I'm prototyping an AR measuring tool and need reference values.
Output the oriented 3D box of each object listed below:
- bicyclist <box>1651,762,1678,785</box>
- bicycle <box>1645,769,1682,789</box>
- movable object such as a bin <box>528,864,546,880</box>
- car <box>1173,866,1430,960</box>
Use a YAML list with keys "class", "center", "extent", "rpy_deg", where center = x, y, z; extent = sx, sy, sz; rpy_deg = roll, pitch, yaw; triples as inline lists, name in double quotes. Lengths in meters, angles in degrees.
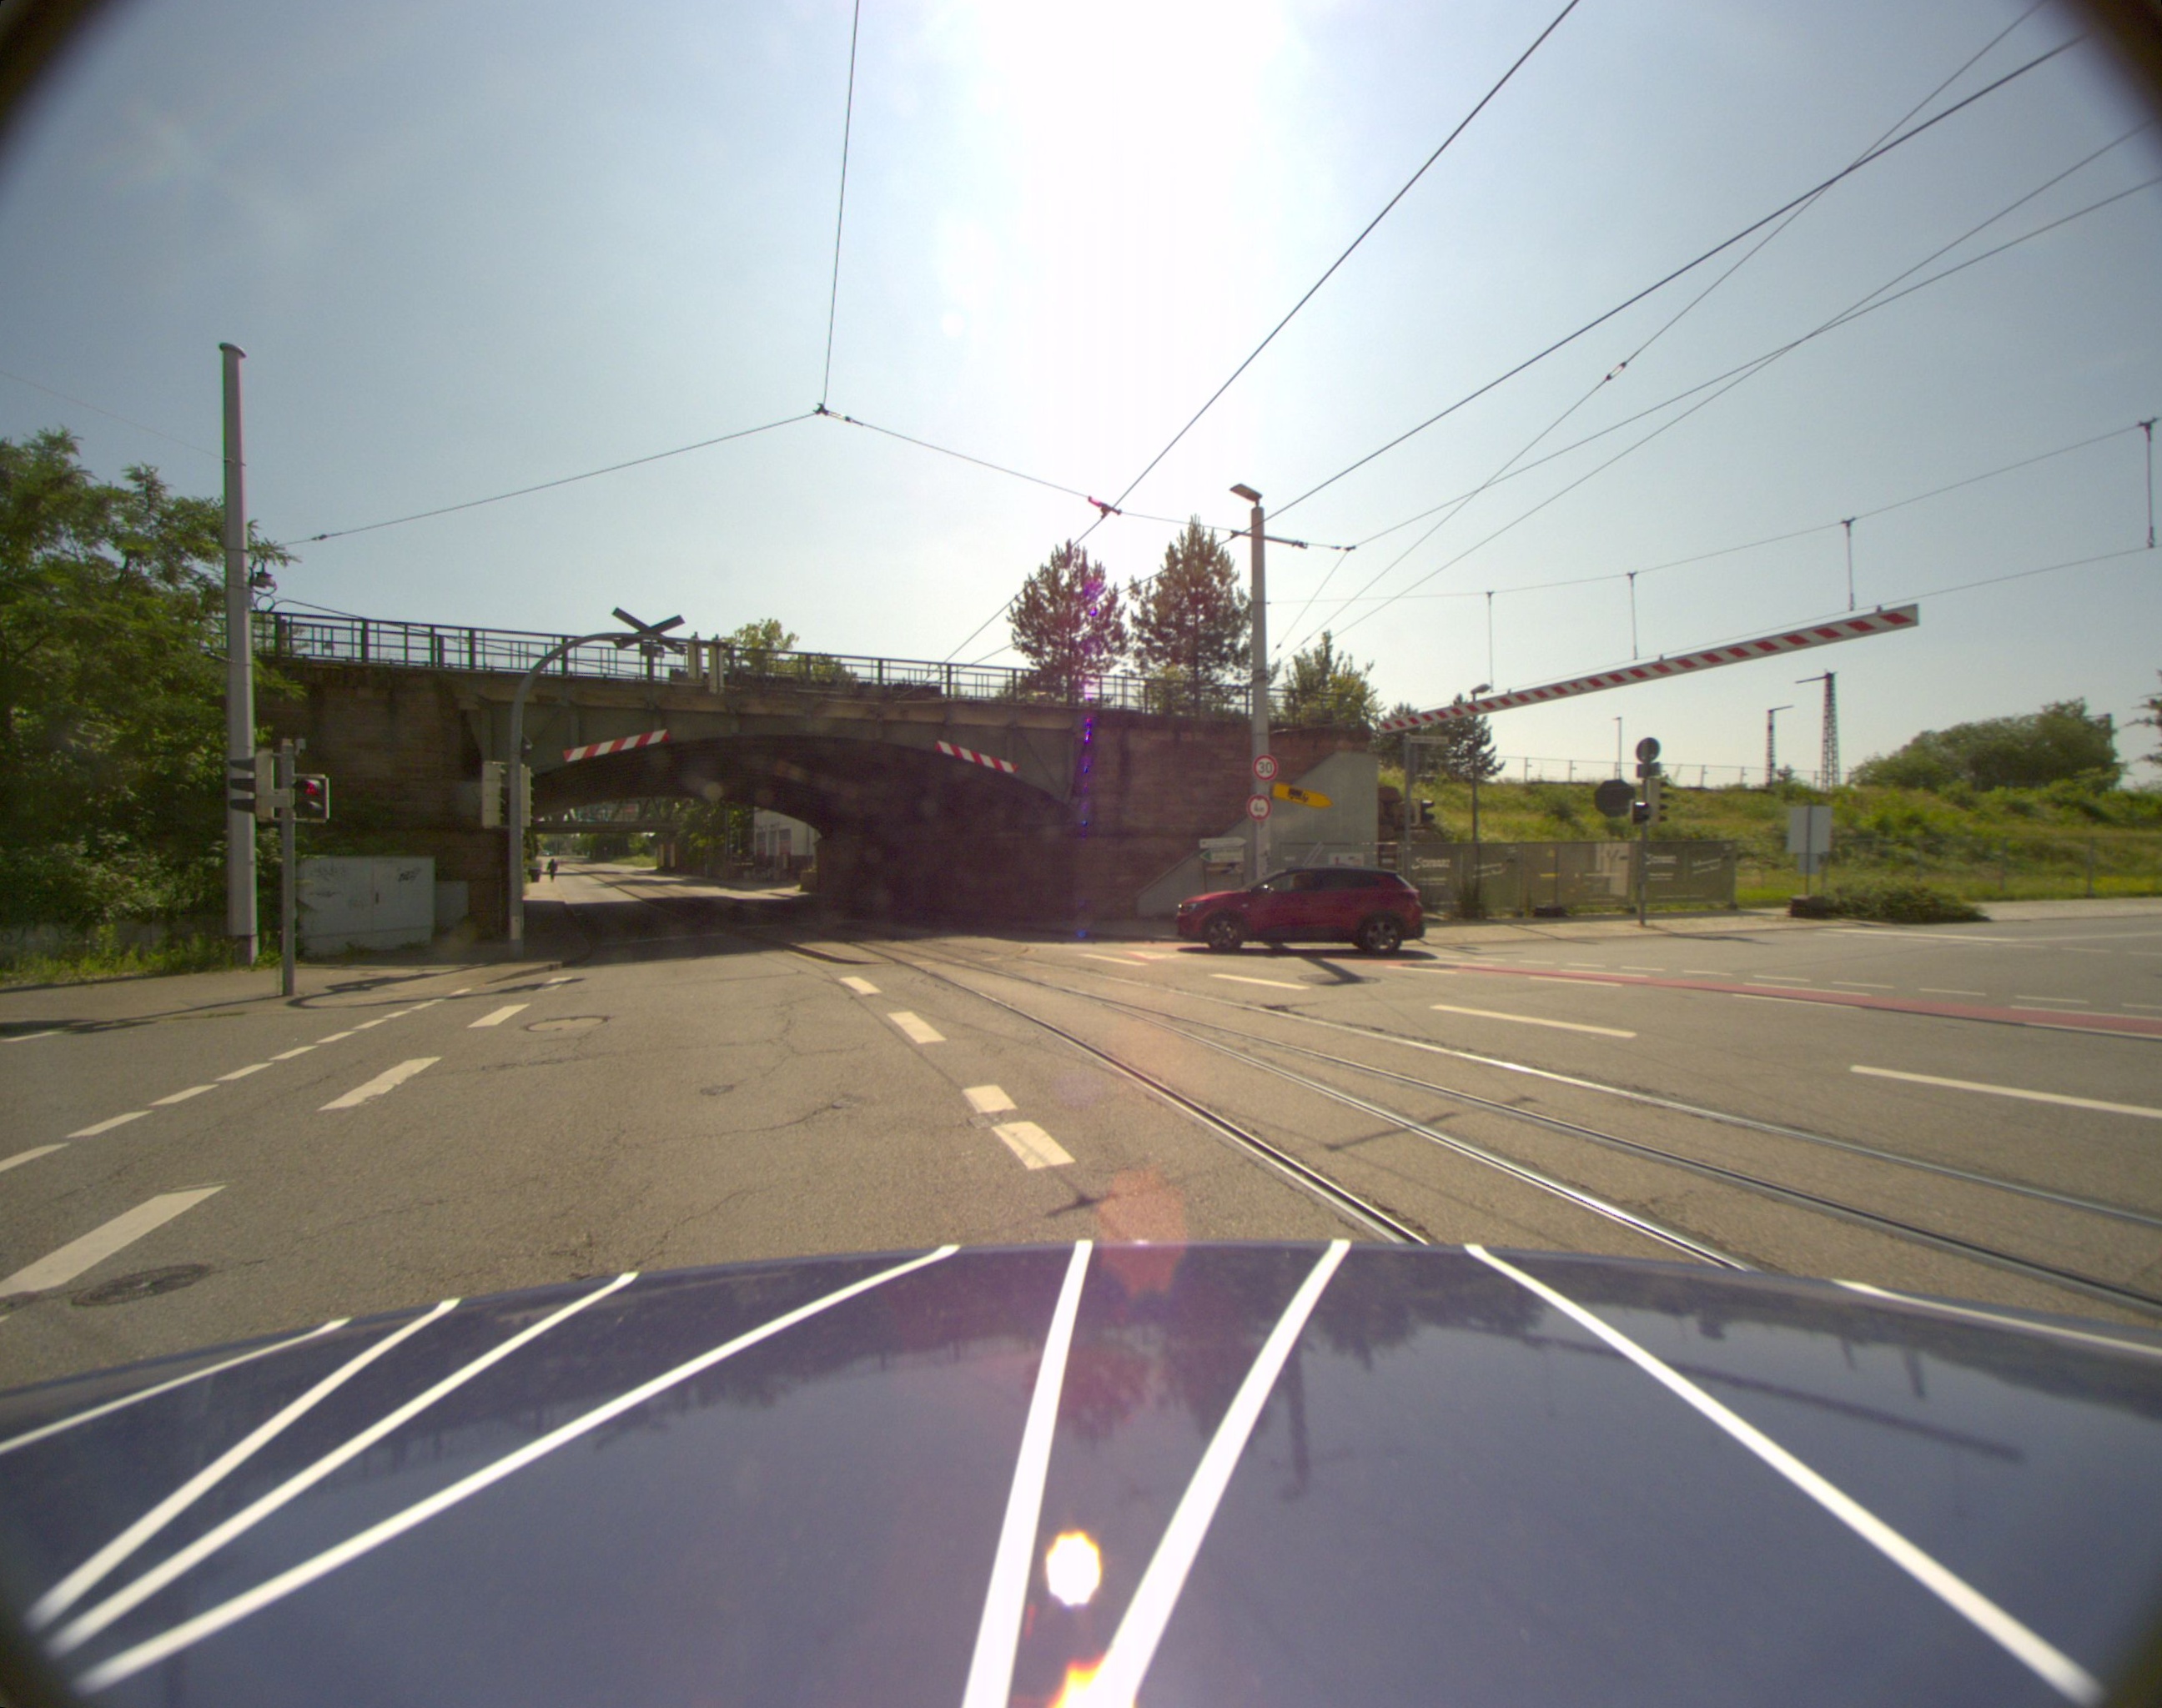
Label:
- class: "bicyclist"
  center: [39.118, -5.366, 50.922]
  extent: [1.064, 1.380, 0.951]
  rpy_deg: [-1, -1, -21]
- class: "bicycle"
  center: [38.990, -5.027, 50.870]
  extent: [2.176, 1.206, 0.936]
  rpy_deg: [-1, -1, -20]
- class: "movable object such as a bin"
  center: [-40.229, 1.349, 56.222]
  extent: [1.042, 1.156, 0.972]
  rpy_deg: [0, 0, -37]
- class: "car"
  center: [3.921, 1.068, 14.137]
  extent: [4.301, 1.593, 1.825]
  rpy_deg: [-1, -2, 8]
